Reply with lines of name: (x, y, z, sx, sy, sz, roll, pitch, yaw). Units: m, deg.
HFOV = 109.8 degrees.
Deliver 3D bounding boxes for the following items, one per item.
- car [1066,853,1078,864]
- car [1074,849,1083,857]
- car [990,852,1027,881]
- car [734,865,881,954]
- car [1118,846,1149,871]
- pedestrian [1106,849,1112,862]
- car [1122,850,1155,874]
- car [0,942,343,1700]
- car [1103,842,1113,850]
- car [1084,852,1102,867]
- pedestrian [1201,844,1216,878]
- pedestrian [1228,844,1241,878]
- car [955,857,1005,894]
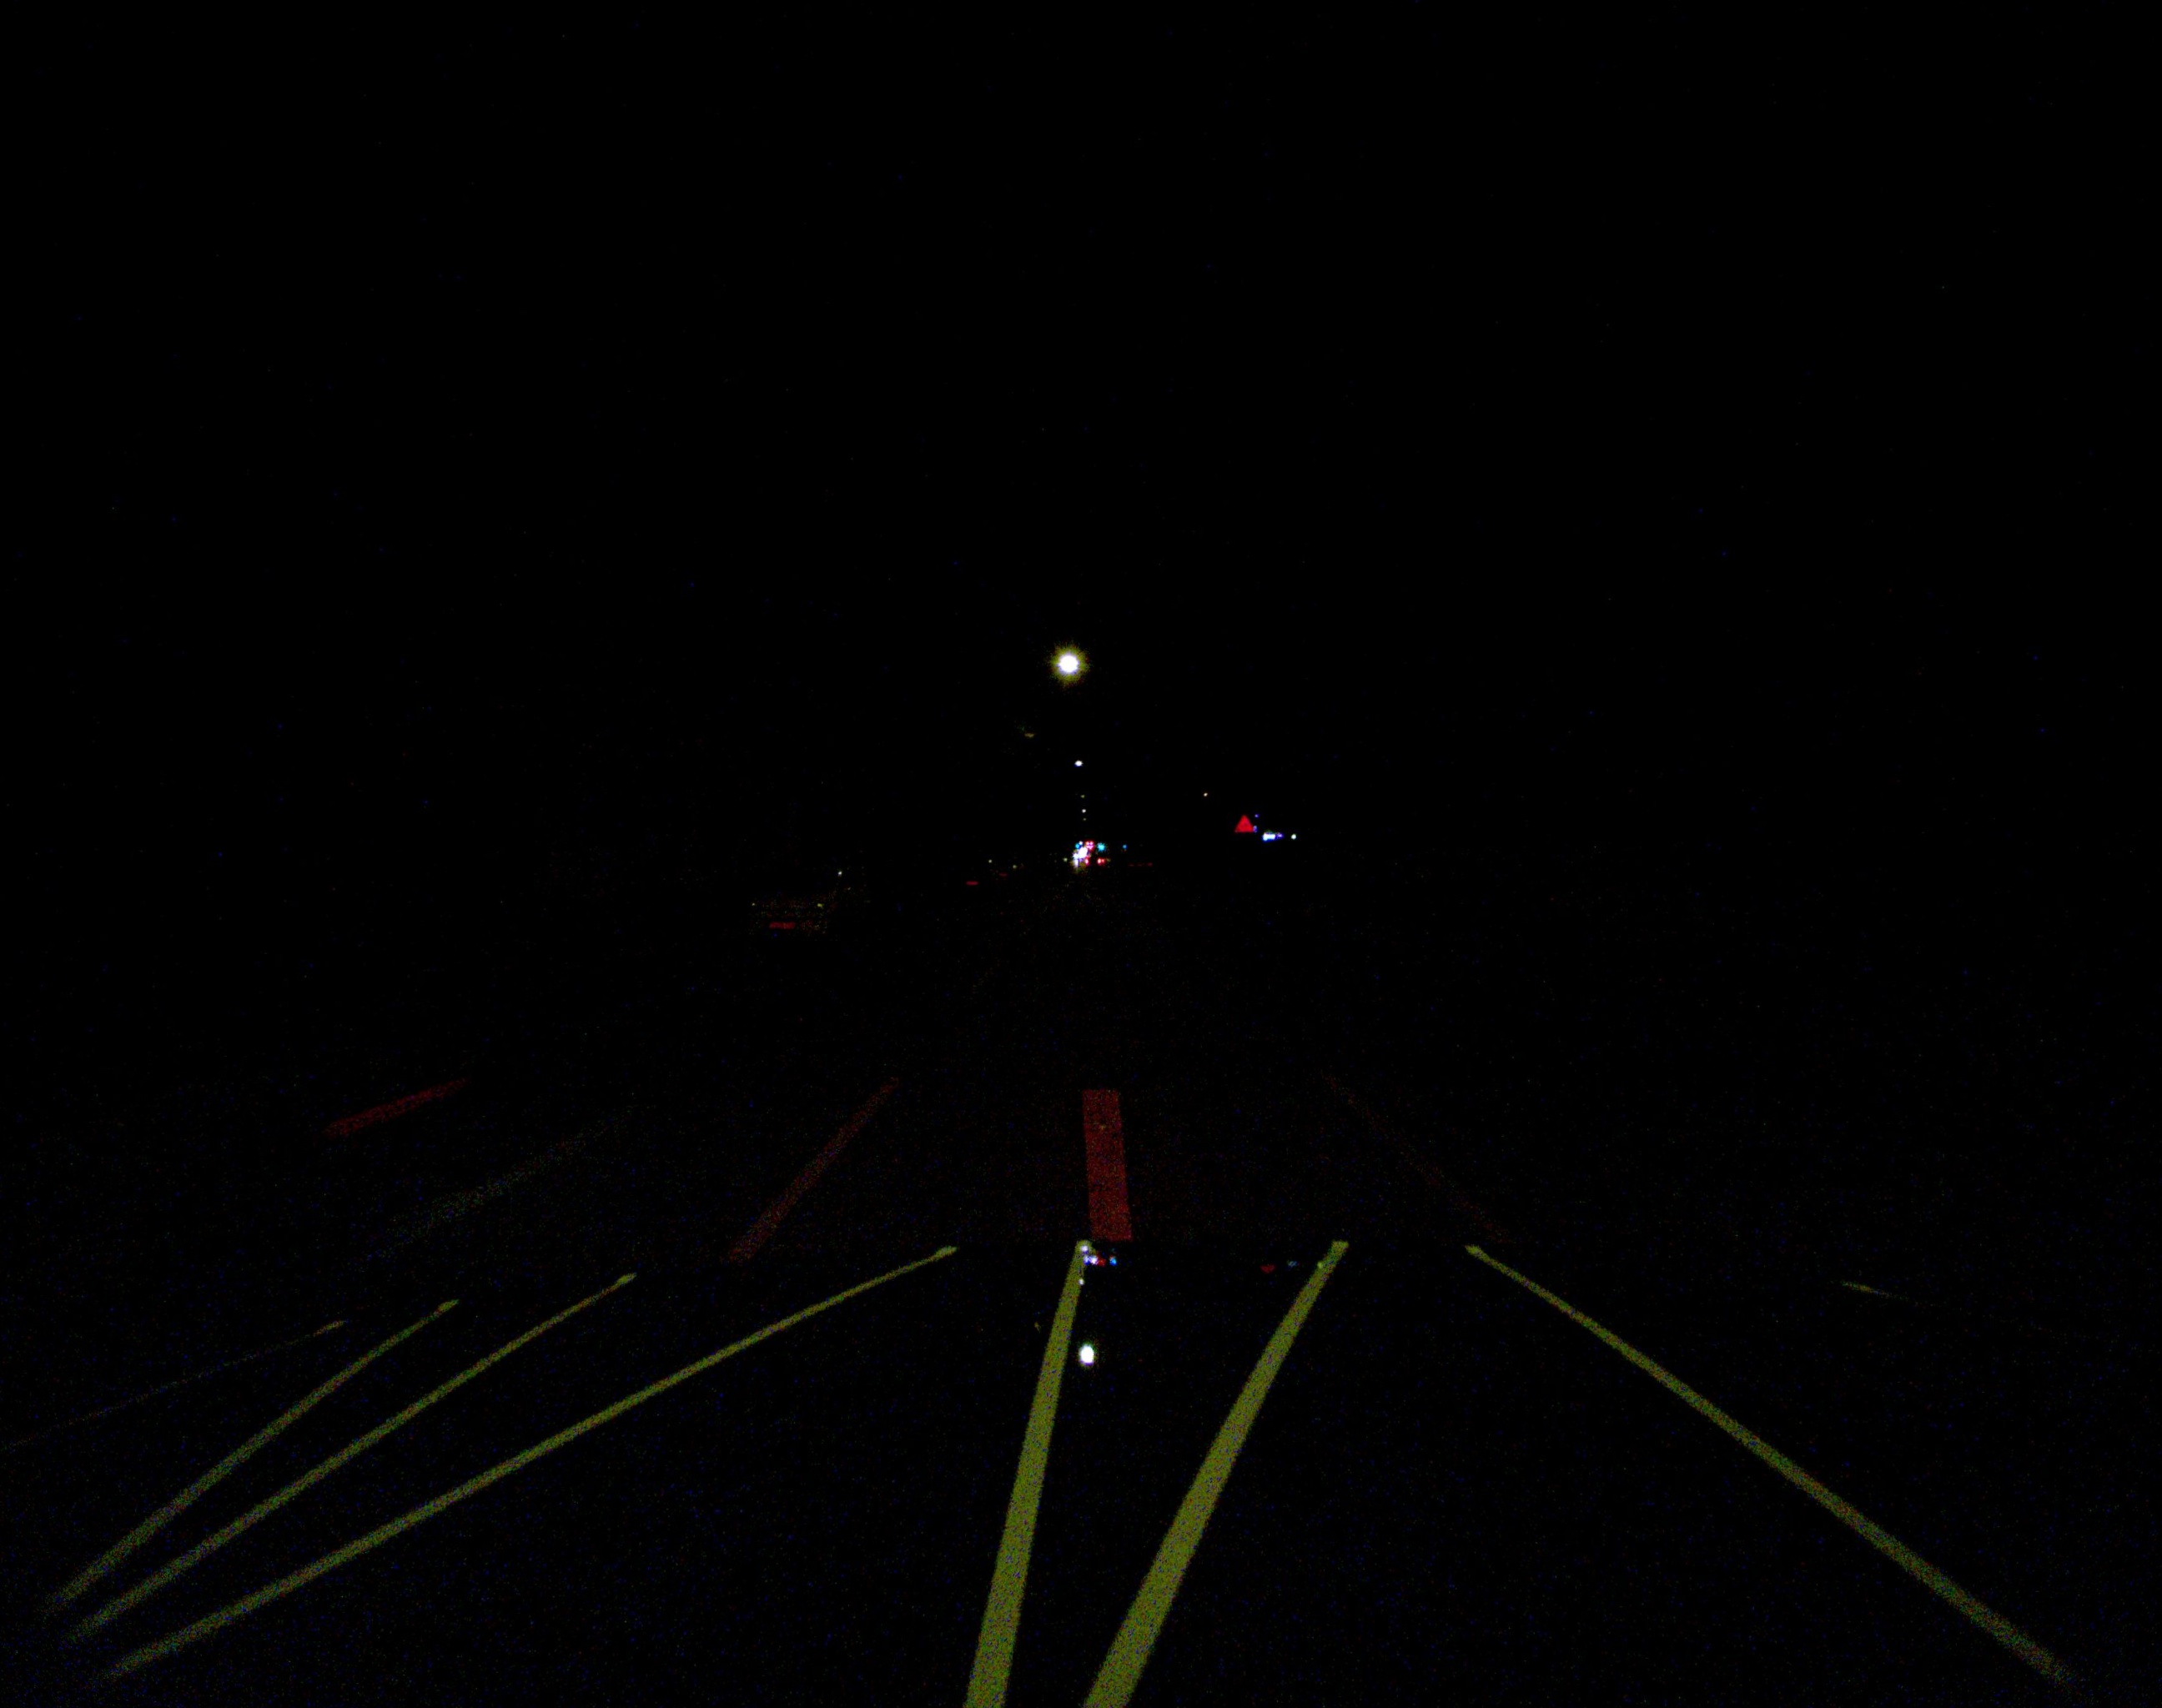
car: (-1.530, 0.782, 134.851, 1.998, 1.718, 3.803, -2, 1, 1)
car: (-0.491, -0.329, 180.516, 1.998, 1.740, 3.999, -2, 1, 1)
car: (-4.454, 0.747, 47.466, 1.852, 1.643, 4.179, -2, 0, 0)
car: (-5.269, 1.007, 15.108, 1.611, 1.500, 3.486, 0, 0, 1)
car: (3.909, 0.285, 57.222, 1.998, 1.772, 3.999, -2, 1, 1)
pedestrian: (4.393, 0.233, 118.243, 0.804, 2.002, 0.940, -2, 1, 1)
car: (3.896, 0.509, 52.067, 1.998, 1.477, 3.999, -3, 1, 1)
car: (-3.122, 1.058, 0.277, 1.780, 1.477, 3.999, -2, 1, -1)
car: (5.555, -1.599, 154.047, 1.903, 1.581, 3.661, -2, 1, 2)
car: (1.213, 0.579, 79.384, 1.754, 1.433, 3.487, -2, -2, 0)
pedestrian: (6.820, 0.372, 40.624, 0.673, 1.750, 0.500, -2, 1, 1)
pedestrian: (8.222, 0.366, 40.676, 0.565, 1.750, 0.500, -2, 1, 1)
car: (-4.465, 0.902, 33.934, 1.742, 1.489, 3.890, -1, 0, -1)
